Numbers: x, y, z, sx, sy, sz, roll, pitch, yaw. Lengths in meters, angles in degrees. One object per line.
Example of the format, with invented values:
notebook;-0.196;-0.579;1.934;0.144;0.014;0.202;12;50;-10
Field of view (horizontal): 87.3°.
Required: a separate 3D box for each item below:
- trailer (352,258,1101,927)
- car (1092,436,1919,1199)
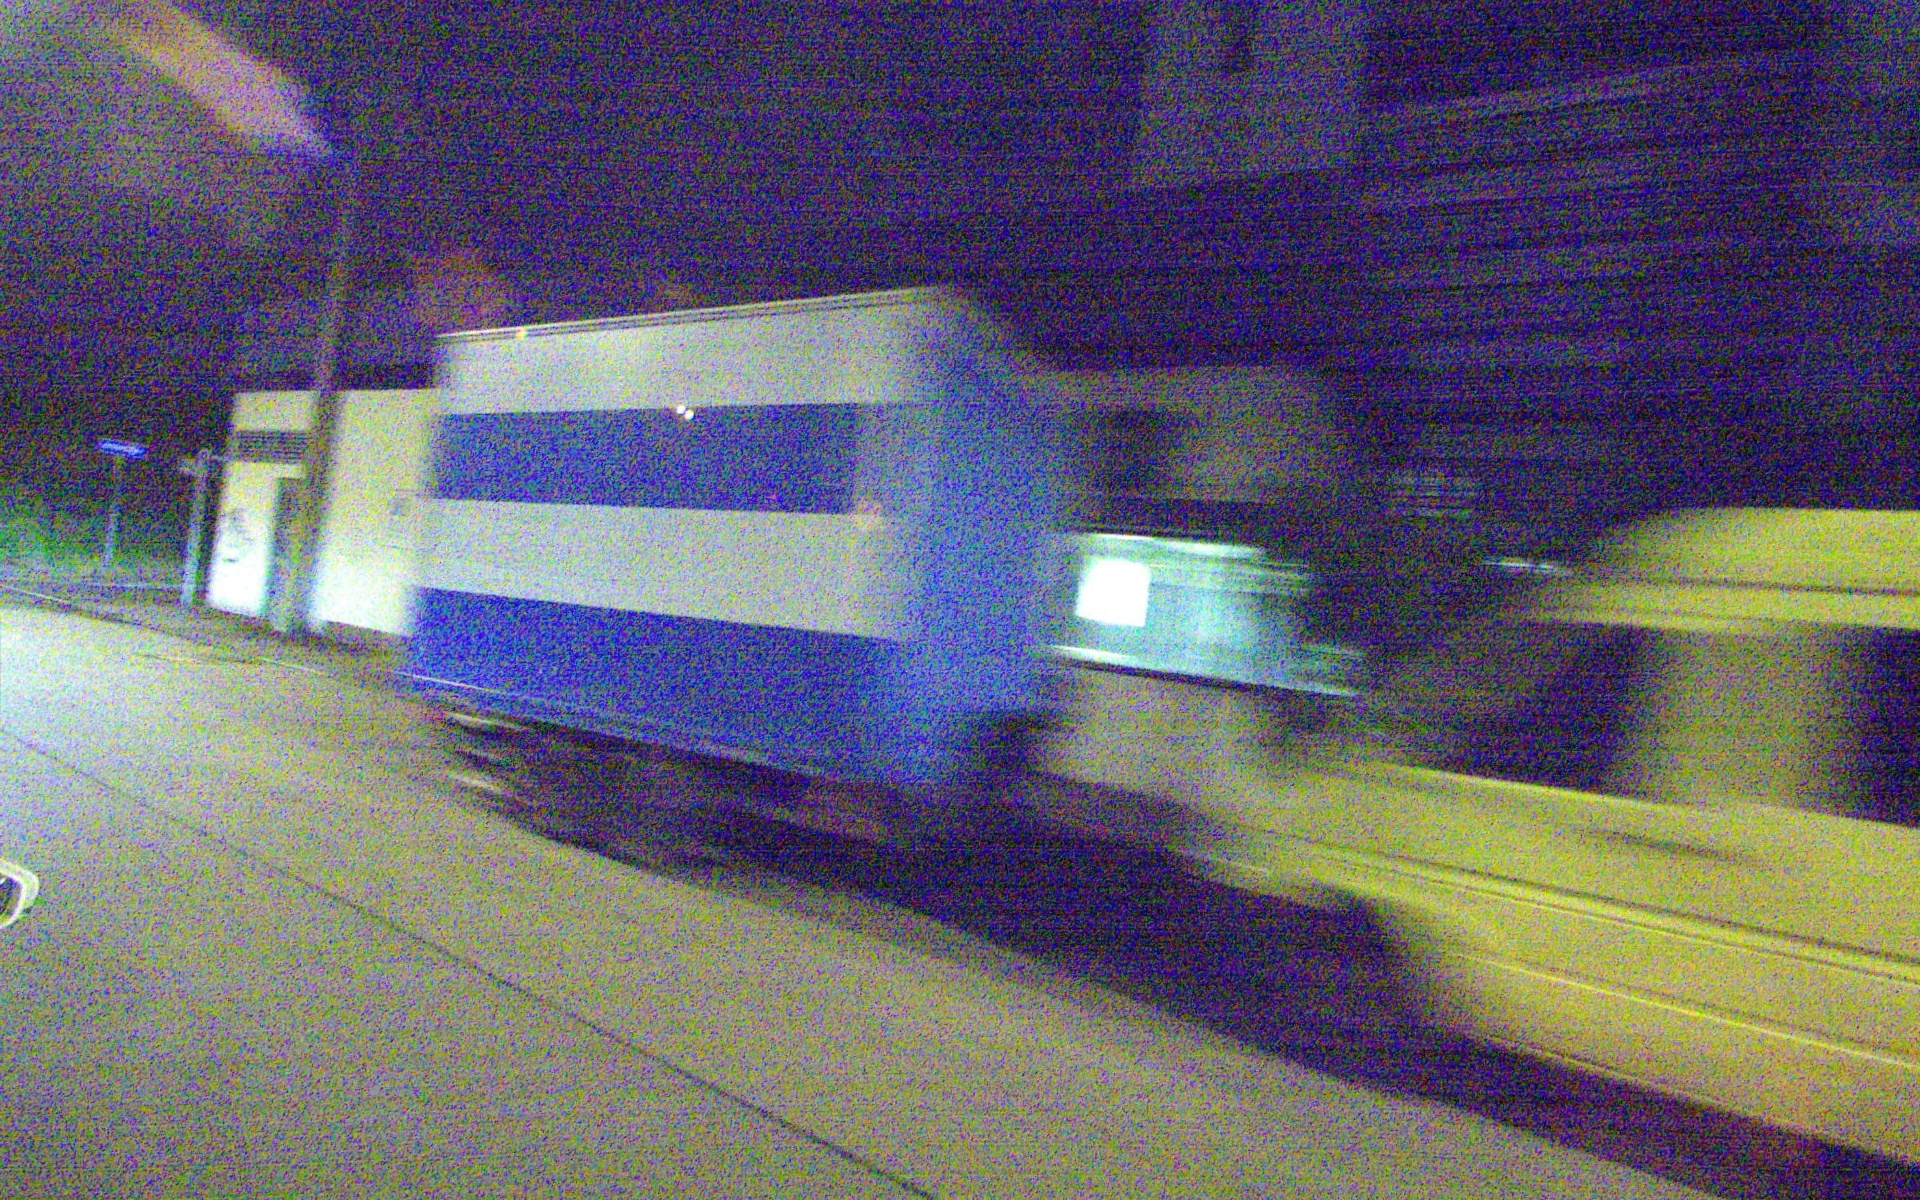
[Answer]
trailer;-1.643;-0.132;7.121;4.288;3.363;2.404;7;-2;30
car;4.009;0.929;3.713;6.538;2.577;1.944;7;-2;33
